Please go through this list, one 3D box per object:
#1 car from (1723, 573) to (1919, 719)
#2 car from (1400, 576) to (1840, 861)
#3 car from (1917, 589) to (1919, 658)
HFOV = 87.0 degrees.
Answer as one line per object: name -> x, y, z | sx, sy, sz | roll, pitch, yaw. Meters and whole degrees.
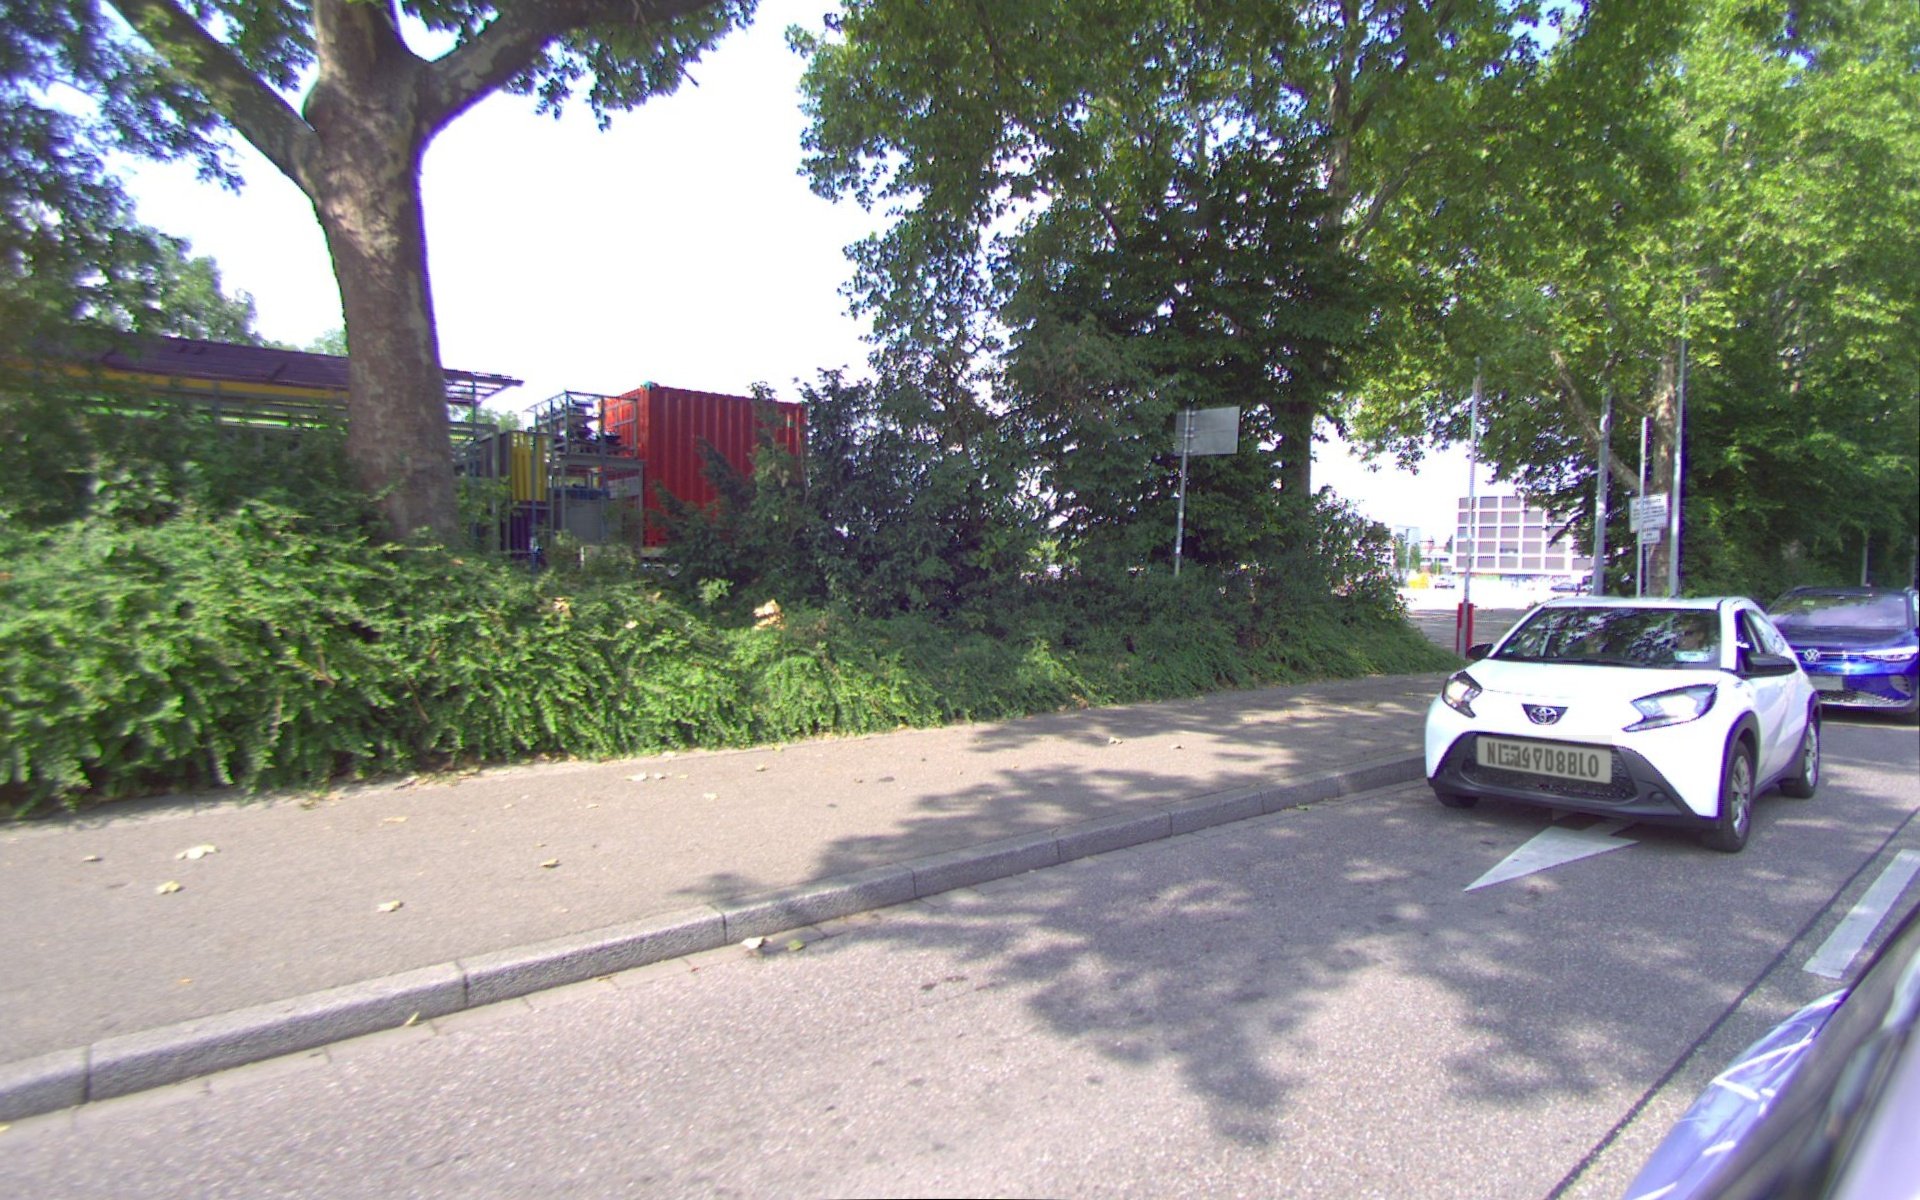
car -> 11.705, 0.500, 13.177 | 4.499, 1.595, 1.890 | 0, 1, -40
car -> 4.846, 0.612, 7.226 | 3.733, 1.498, 1.747 | 0, 1, -42
car -> 22.693, 0.486, 22.422 | 3.929, 1.482, 1.770 | -1, 1, -40
